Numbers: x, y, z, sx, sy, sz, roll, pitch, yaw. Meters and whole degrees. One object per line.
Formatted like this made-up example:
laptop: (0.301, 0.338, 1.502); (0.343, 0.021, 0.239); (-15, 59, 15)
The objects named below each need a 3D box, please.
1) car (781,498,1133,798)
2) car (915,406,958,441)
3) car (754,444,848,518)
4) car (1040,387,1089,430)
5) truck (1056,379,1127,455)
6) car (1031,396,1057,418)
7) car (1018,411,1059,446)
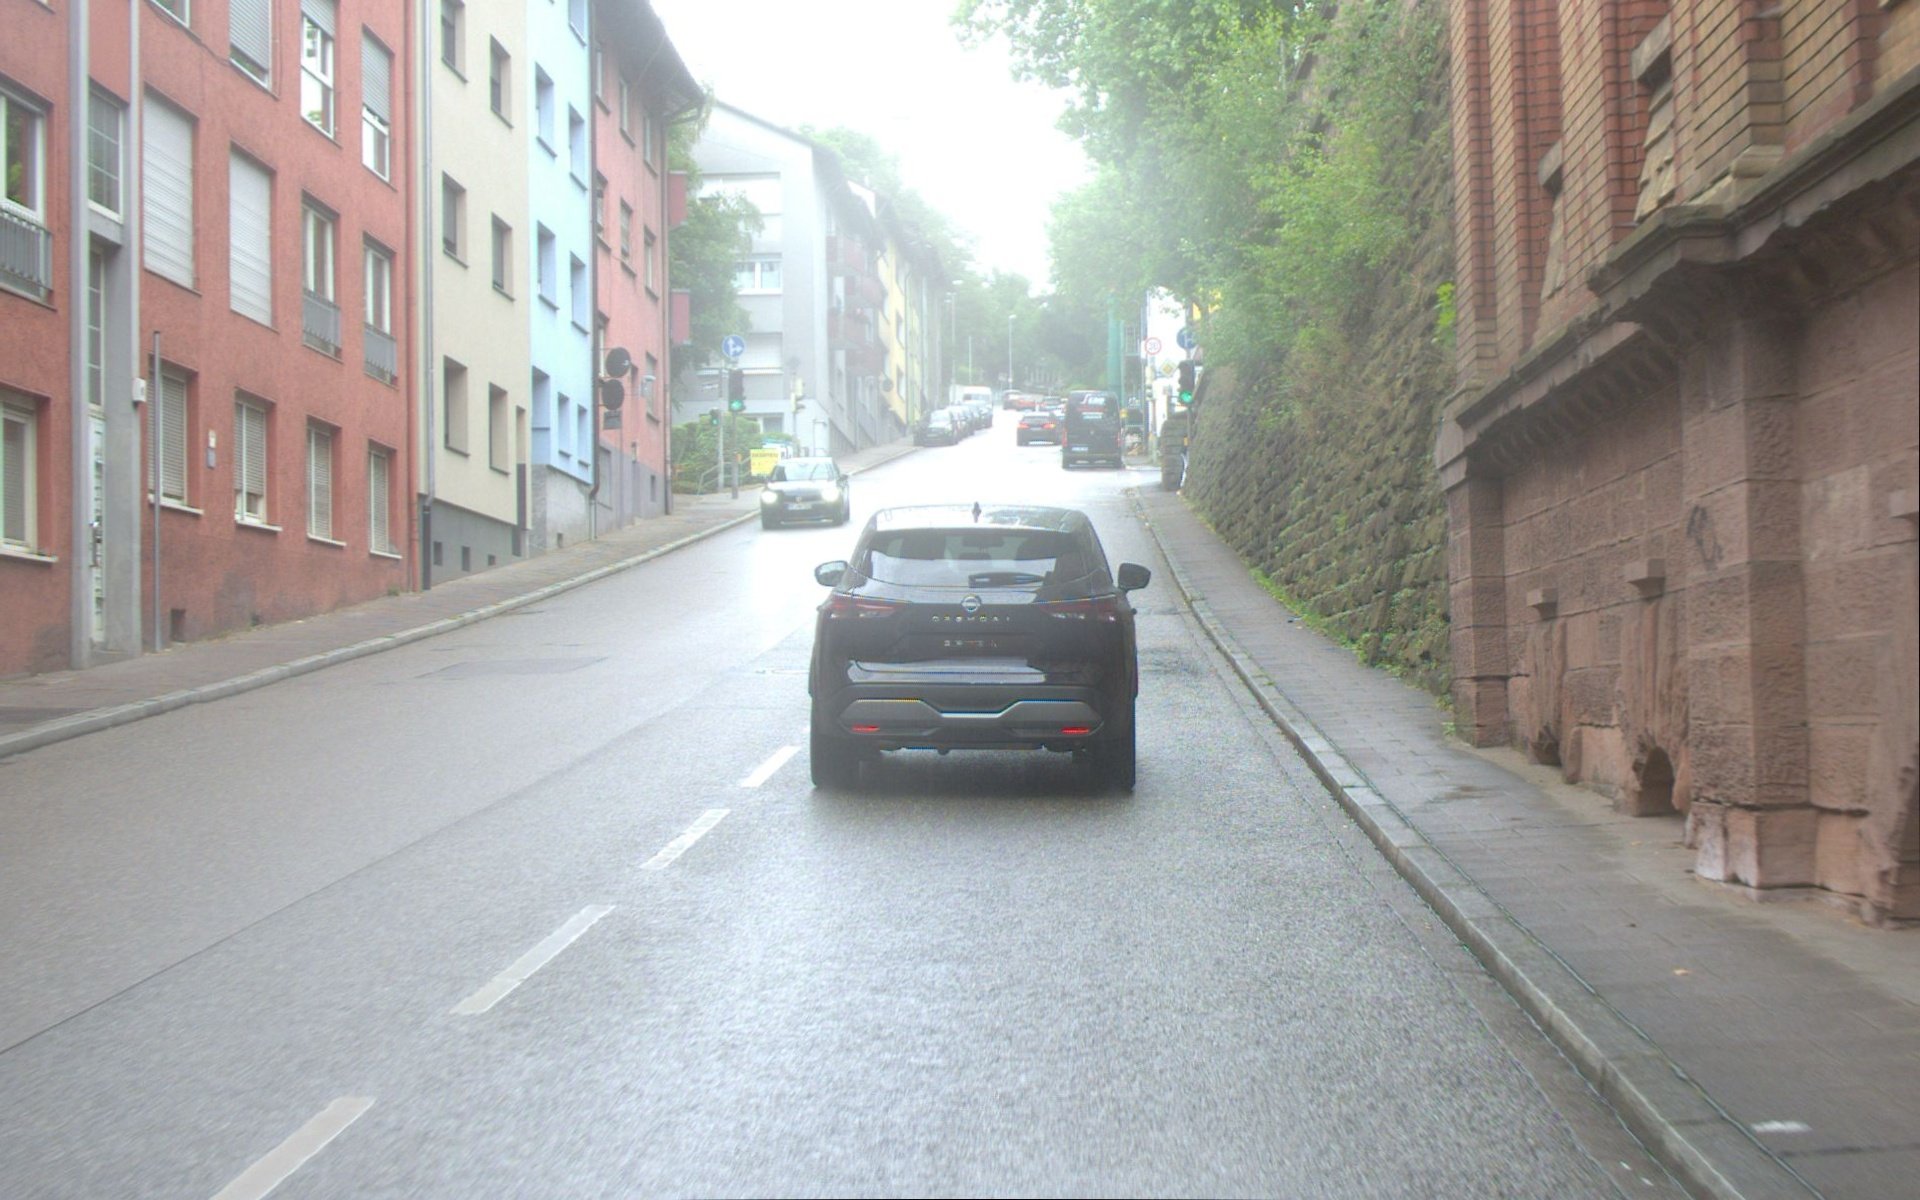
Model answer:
car: (0.006, 0.199, 20.381); (1.881, 1.588, 3.921); (0, 2, 1)
car: (-1.092, -8.194, 159.939); (1.794, 1.505, 4.000); (-1, 2, 2)
car: (-3.357, -2.551, 73.163); (1.714, 1.443, 3.922); (-1, 3, 1)
car: (3.945, -7.200, 129.824); (1.794, 1.505, 4.500); (-1, 2, 2)
truck: (4.401, -6.106, 114.979); (2.289, 2.431, 4.452); (-1, 2, 2)
car: (5.965, -13.713, 244.320); (1.794, 1.505, 4.000); (-1, 2, 2)
car: (3.575, -7.793, 156.581); (1.794, 1.505, 4.000); (-1, 2, 2)
